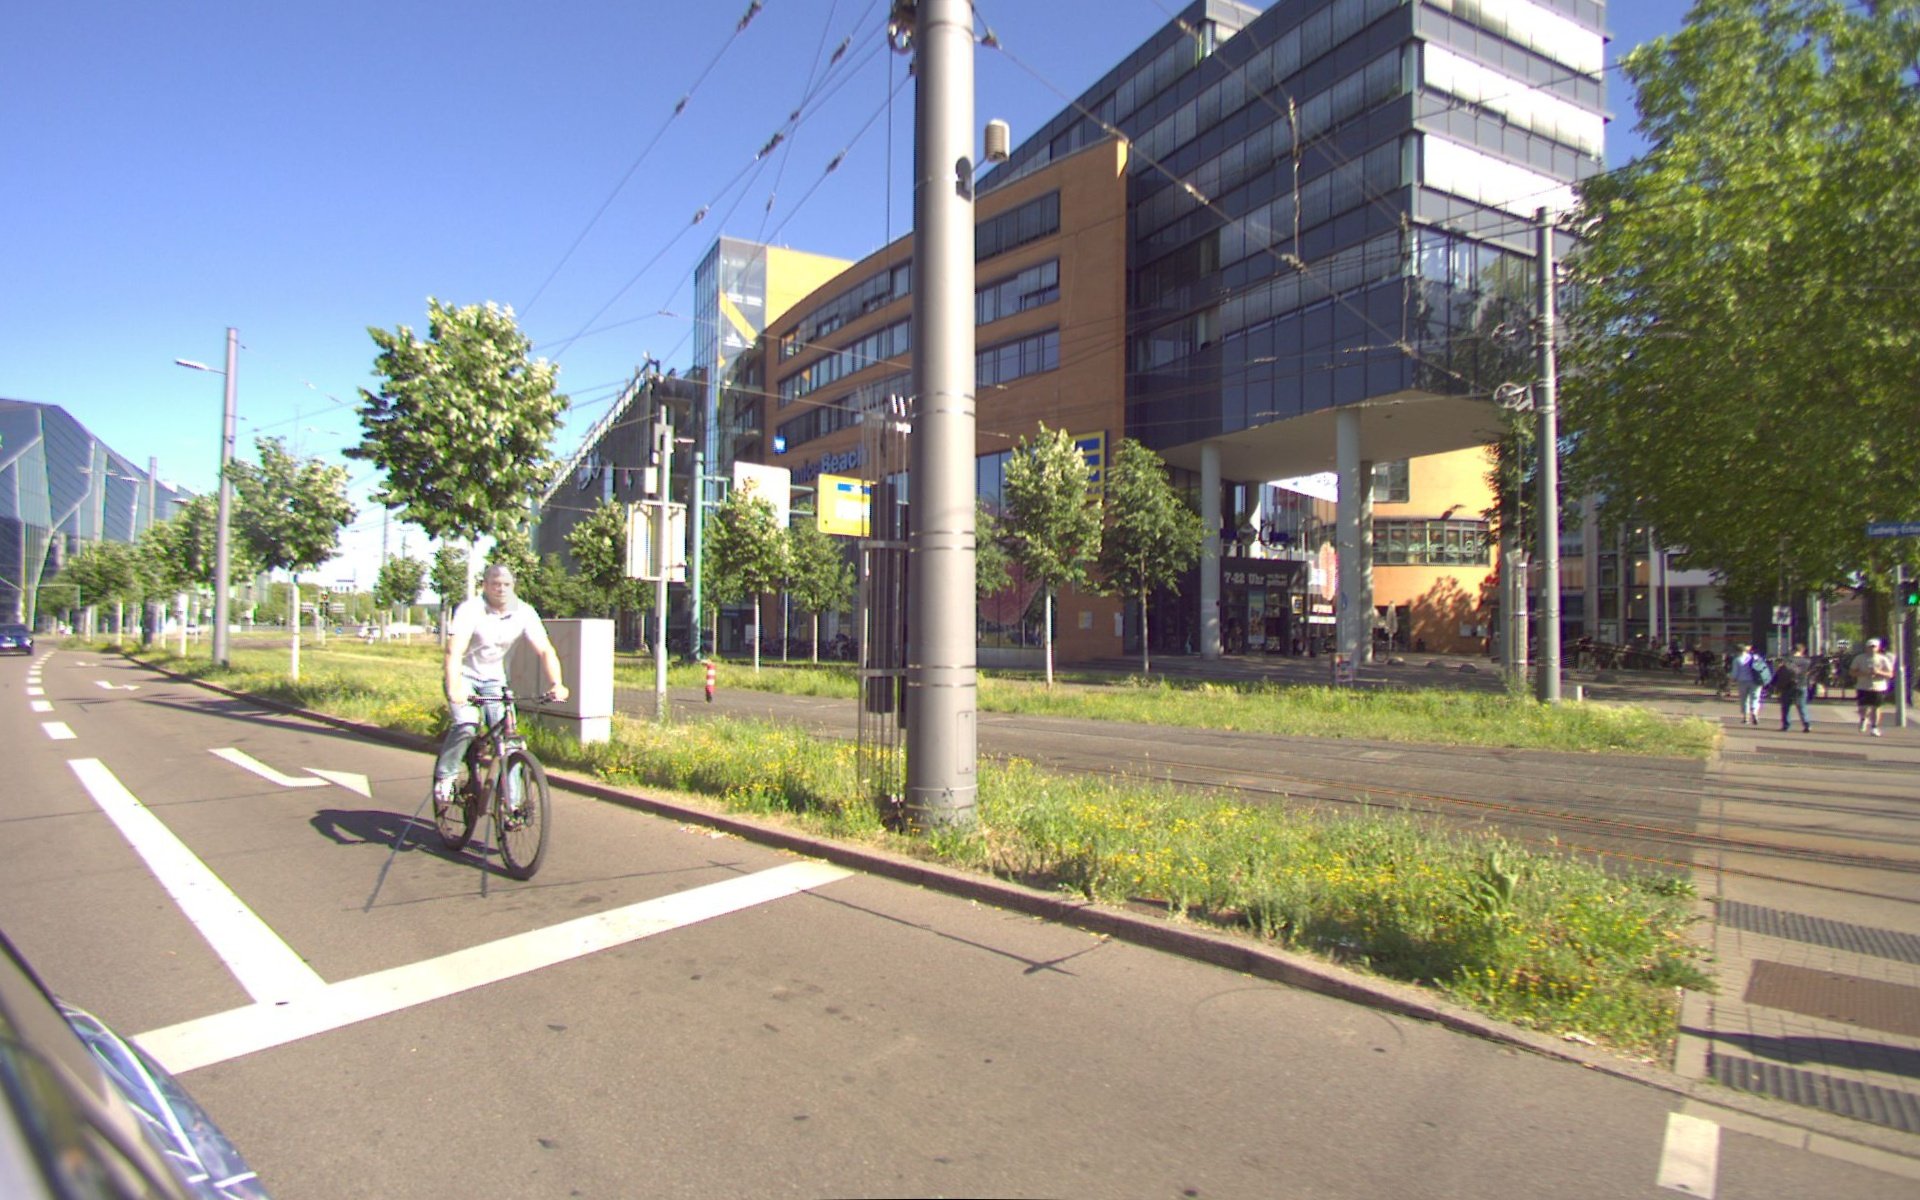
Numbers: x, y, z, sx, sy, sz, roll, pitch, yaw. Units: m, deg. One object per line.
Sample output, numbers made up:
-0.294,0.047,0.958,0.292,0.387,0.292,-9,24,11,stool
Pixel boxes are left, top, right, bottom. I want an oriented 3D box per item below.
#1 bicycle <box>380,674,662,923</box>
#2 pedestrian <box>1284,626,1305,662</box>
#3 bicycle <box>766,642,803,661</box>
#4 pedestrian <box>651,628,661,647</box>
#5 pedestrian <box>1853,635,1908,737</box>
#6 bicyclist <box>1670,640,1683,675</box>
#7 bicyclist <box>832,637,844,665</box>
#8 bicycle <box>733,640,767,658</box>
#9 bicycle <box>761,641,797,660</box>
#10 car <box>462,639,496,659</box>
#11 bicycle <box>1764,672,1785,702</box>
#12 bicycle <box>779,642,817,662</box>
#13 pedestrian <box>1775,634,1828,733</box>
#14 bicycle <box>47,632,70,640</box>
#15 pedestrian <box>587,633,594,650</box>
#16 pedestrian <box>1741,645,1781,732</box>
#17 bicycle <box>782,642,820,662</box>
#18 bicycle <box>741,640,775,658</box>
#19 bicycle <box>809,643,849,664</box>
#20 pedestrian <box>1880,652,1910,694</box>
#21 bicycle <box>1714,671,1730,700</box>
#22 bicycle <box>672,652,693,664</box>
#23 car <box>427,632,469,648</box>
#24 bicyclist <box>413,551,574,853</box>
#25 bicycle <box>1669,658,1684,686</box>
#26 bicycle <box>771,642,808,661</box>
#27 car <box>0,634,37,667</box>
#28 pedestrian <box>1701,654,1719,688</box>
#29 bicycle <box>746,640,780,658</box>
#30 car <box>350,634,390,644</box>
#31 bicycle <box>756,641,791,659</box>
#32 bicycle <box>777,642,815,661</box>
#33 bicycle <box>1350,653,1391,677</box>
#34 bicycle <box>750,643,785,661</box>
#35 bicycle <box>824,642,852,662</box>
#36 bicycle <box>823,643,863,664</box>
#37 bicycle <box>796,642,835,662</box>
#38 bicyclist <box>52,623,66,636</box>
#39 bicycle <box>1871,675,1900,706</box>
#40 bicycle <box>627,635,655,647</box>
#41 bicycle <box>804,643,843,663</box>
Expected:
-2.744,1.040,6.085,0.678,1.078,2.699,0,-2,-43,bicycle
15.783,2.075,47.780,0.500,1.636,0.789,2,-2,-44,pedestrian
-11.030,3.214,63.676,2.144,1.132,0.755,1,-2,-35,bicycle
-24.592,3.049,81.816,0.626,1.565,0.664,1,-2,-23,pedestrian
17.218,1.584,18.932,0.751,1.845,0.626,2,-3,-39,pedestrian
35.657,2.838,50.370,0.464,1.734,0.480,-1,-3,32,bicyclist
-6.211,2.598,51.499,0.482,1.387,0.336,0,-2,45,bicyclist
-14.454,3.365,69.723,2.144,1.132,0.755,1,-2,-35,bicycle
-11.572,3.216,64.569,2.144,1.132,0.755,1,-2,-35,bicycle
-35.776,3.627,75.236,1.411,1.370,3.300,2,-3,-41,car
24.173,2.579,30.051,0.375,0.805,2.005,-1,-3,36,bicycle
-9.781,3.132,61.219,2.144,1.132,0.755,1,-2,-35,bicycle
15.931,1.567,19.172,0.492,1.845,0.581,0,-2,8,pedestrian
-94.192,3.760,105.776,0.757,0.846,2.576,1,-2,-17,bicycle
-33.993,3.801,93.095,0.482,1.530,0.651,2,-2,-25,pedestrian
17.240,1.895,21.789,0.453,1.845,0.460,0,-2,8,pedestrian
-9.474,3.077,60.325,2.144,1.132,0.755,1,-2,-35,bicycle
-13.749,3.339,68.907,2.144,1.132,0.755,1,-2,-35,bicycle
-7.450,3.017,57.680,2.144,1.132,0.755,1,-2,-35,bicycle
33.144,2.575,35.861,0.637,1.463,0.502,1,-3,-18,pedestrian
22.985,2.569,30.537,0.375,0.805,2.005,-1,-3,36,bicycle
-19.898,4.139,72.621,1.427,0.825,0.447,1,-2,-35,bicycle
-42.593,3.312,84.106,1.969,1.344,4.796,2,-3,-41,car
-2.888,0.580,6.238,0.610,1.682,1.020,0,-2,-43,bicyclist
35.649,3.569,50.352,0.464,1.363,2.346,-1,-3,32,bicycle
-10.573,3.182,62.871,2.144,1.132,0.755,1,-2,-35,bicycle
-46.729,2.460,49.779,1.847,1.568,4.004,3,-3,-43,car
29.384,2.765,39.649,0.546,1.303,0.424,-1,-3,37,pedestrian
-13.247,3.280,68.129,2.144,1.132,0.755,1,-2,-35,bicycle
-67.523,4.517,115.818,3.931,1.098,2.006,2,-2,-30,car
-12.055,3.245,65.462,2.144,1.132,0.755,1,-2,-35,bicycle
-10.059,3.140,62.090,2.144,1.132,0.755,1,-2,-35,bicycle
19.637,3.102,48.445,0.487,1.143,1.804,3,-3,-44,bicycle
-12.750,3.428,67.023,2.144,1.132,0.755,1,-2,-35,bicycle
-6.217,2.629,51.507,0.349,0.933,1.896,3,-2,-45,bicycle
-6.487,2.961,56.123,2.144,1.132,0.755,1,-2,-35,bicycle
-8.459,3.039,59.370,2.144,1.132,0.755,1,-2,-35,bicycle
-94.208,3.092,105.830,0.749,1.420,0.774,1,-2,-17,bicyclist
26.055,2.534,28.499,0.375,0.805,2.005,-1,-3,36,bicycle
-25.797,3.285,81.917,2.144,0.962,0.494,1,-2,-35,bicycle
-7.878,3.045,58.527,2.144,1.132,0.755,1,-2,-35,bicycle
